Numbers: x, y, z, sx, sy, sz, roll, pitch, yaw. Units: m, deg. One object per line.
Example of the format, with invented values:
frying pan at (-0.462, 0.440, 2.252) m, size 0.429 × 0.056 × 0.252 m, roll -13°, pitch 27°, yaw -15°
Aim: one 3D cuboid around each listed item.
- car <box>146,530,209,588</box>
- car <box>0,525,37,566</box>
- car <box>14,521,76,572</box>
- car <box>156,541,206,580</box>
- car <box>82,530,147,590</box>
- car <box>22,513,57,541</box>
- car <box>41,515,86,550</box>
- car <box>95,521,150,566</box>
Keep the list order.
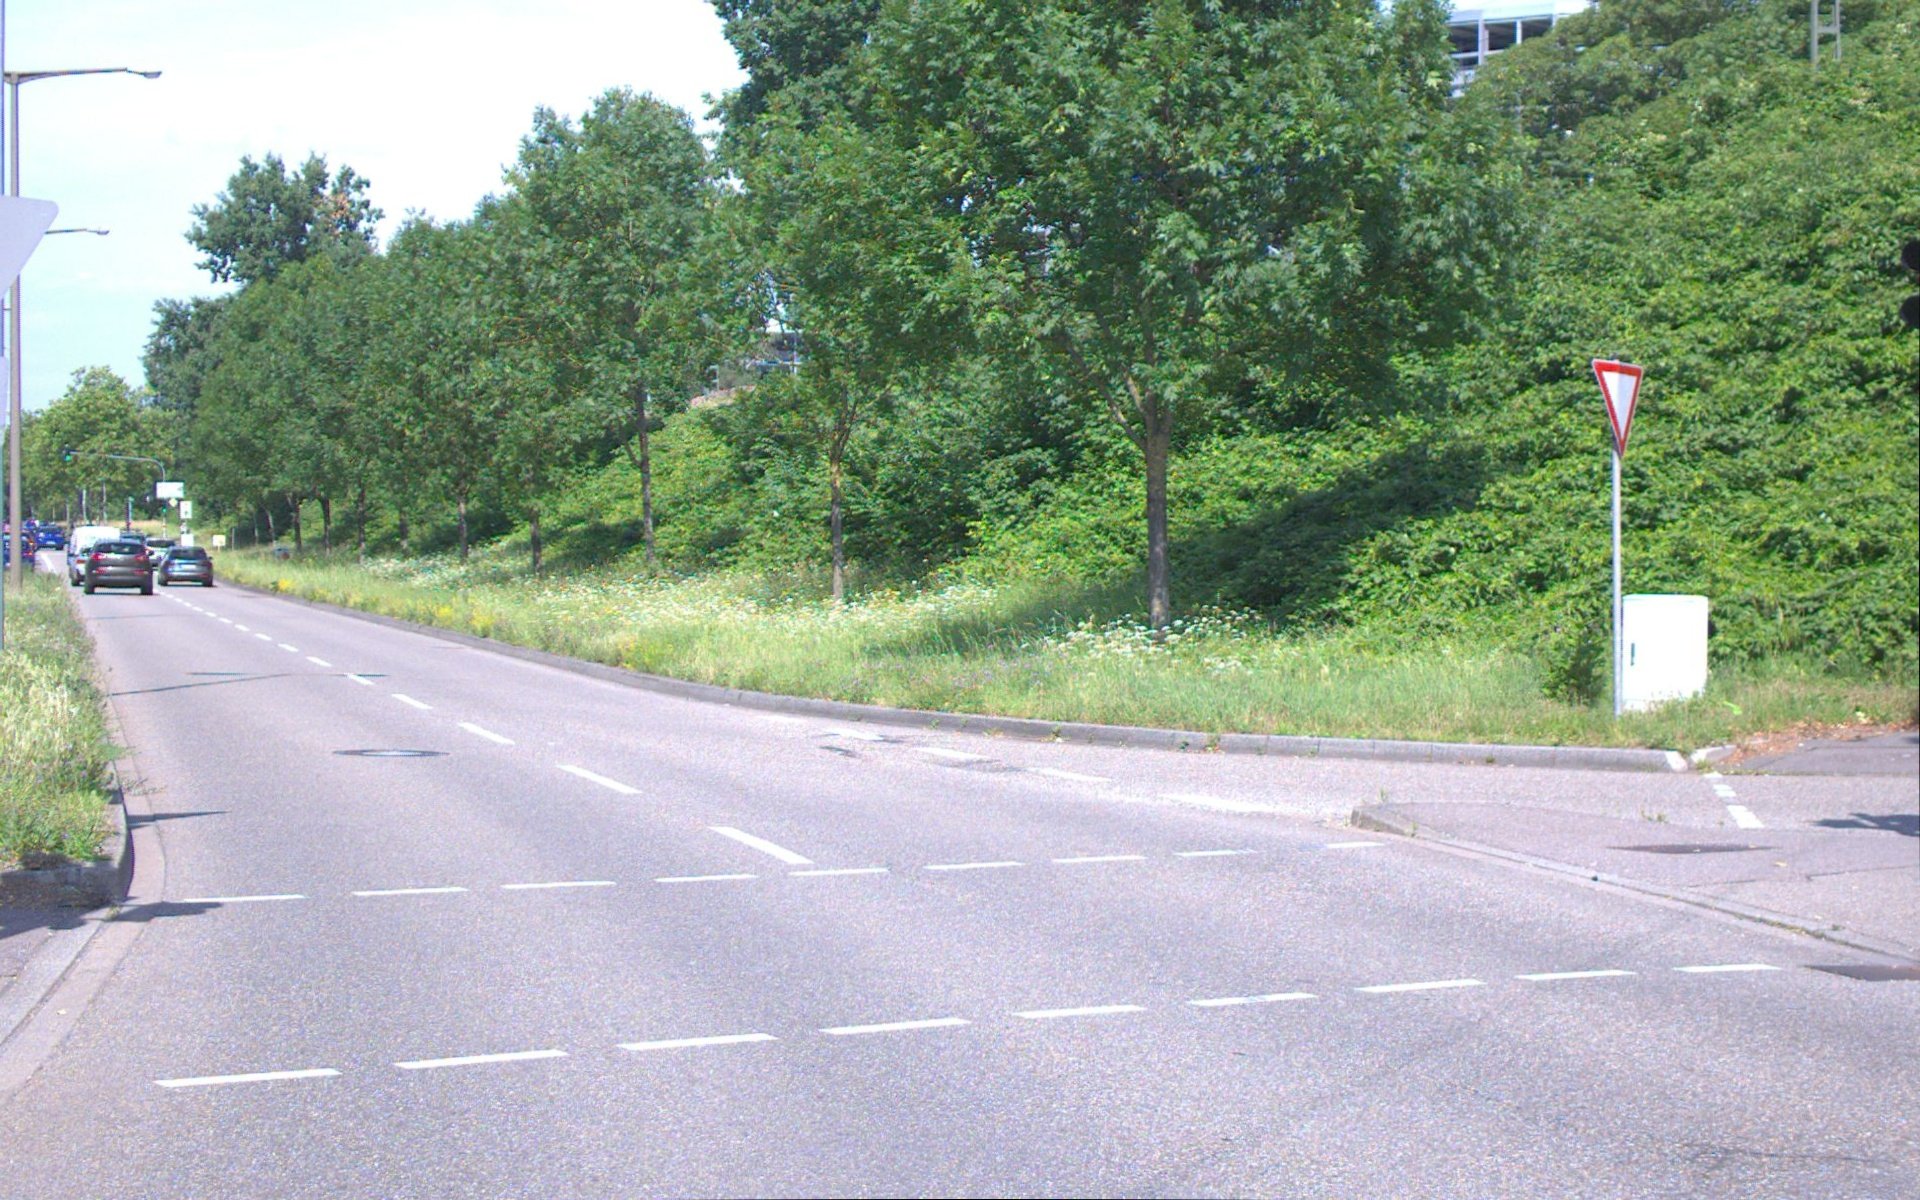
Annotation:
car at (-27.690, -1.457, 121.651) m, size 2.017 × 1.831 × 4.002 m, roll 1°, pitch 3°, yaw -15°
car at (-35.802, -2.078, 130.104) m, size 1.626 × 1.478 × 4.050 m, roll 2°, pitch 1°, yaw -16°
car at (-30.896, -1.813, 116.069) m, size 1.993 × 1.678 × 4.001 m, roll 0°, pitch 1°, yaw -15°
car at (-34.800, -1.777, 153.557) m, size 1.993 × 1.702 × 4.265 m, roll 0°, pitch 1°, yaw -15°
car at (-24.346, -1.159, 98.927) m, size 1.736 × 1.530 × 4.002 m, roll 1°, pitch 3°, yaw -15°
car at (-54.755, -4.362, 204.545) m, size 1.993 × 1.656 × 4.249 m, roll 0°, pitch 1°, yaw -15°
car at (-42.023, -3.172, 161.146) m, size 1.993 × 1.623 × 4.089 m, roll 0°, pitch 1°, yaw -15°
car at (-32.305, -2.193, 132.608) m, size 1.993 × 1.702 × 4.265 m, roll 0°, pitch 1°, yaw -15°
